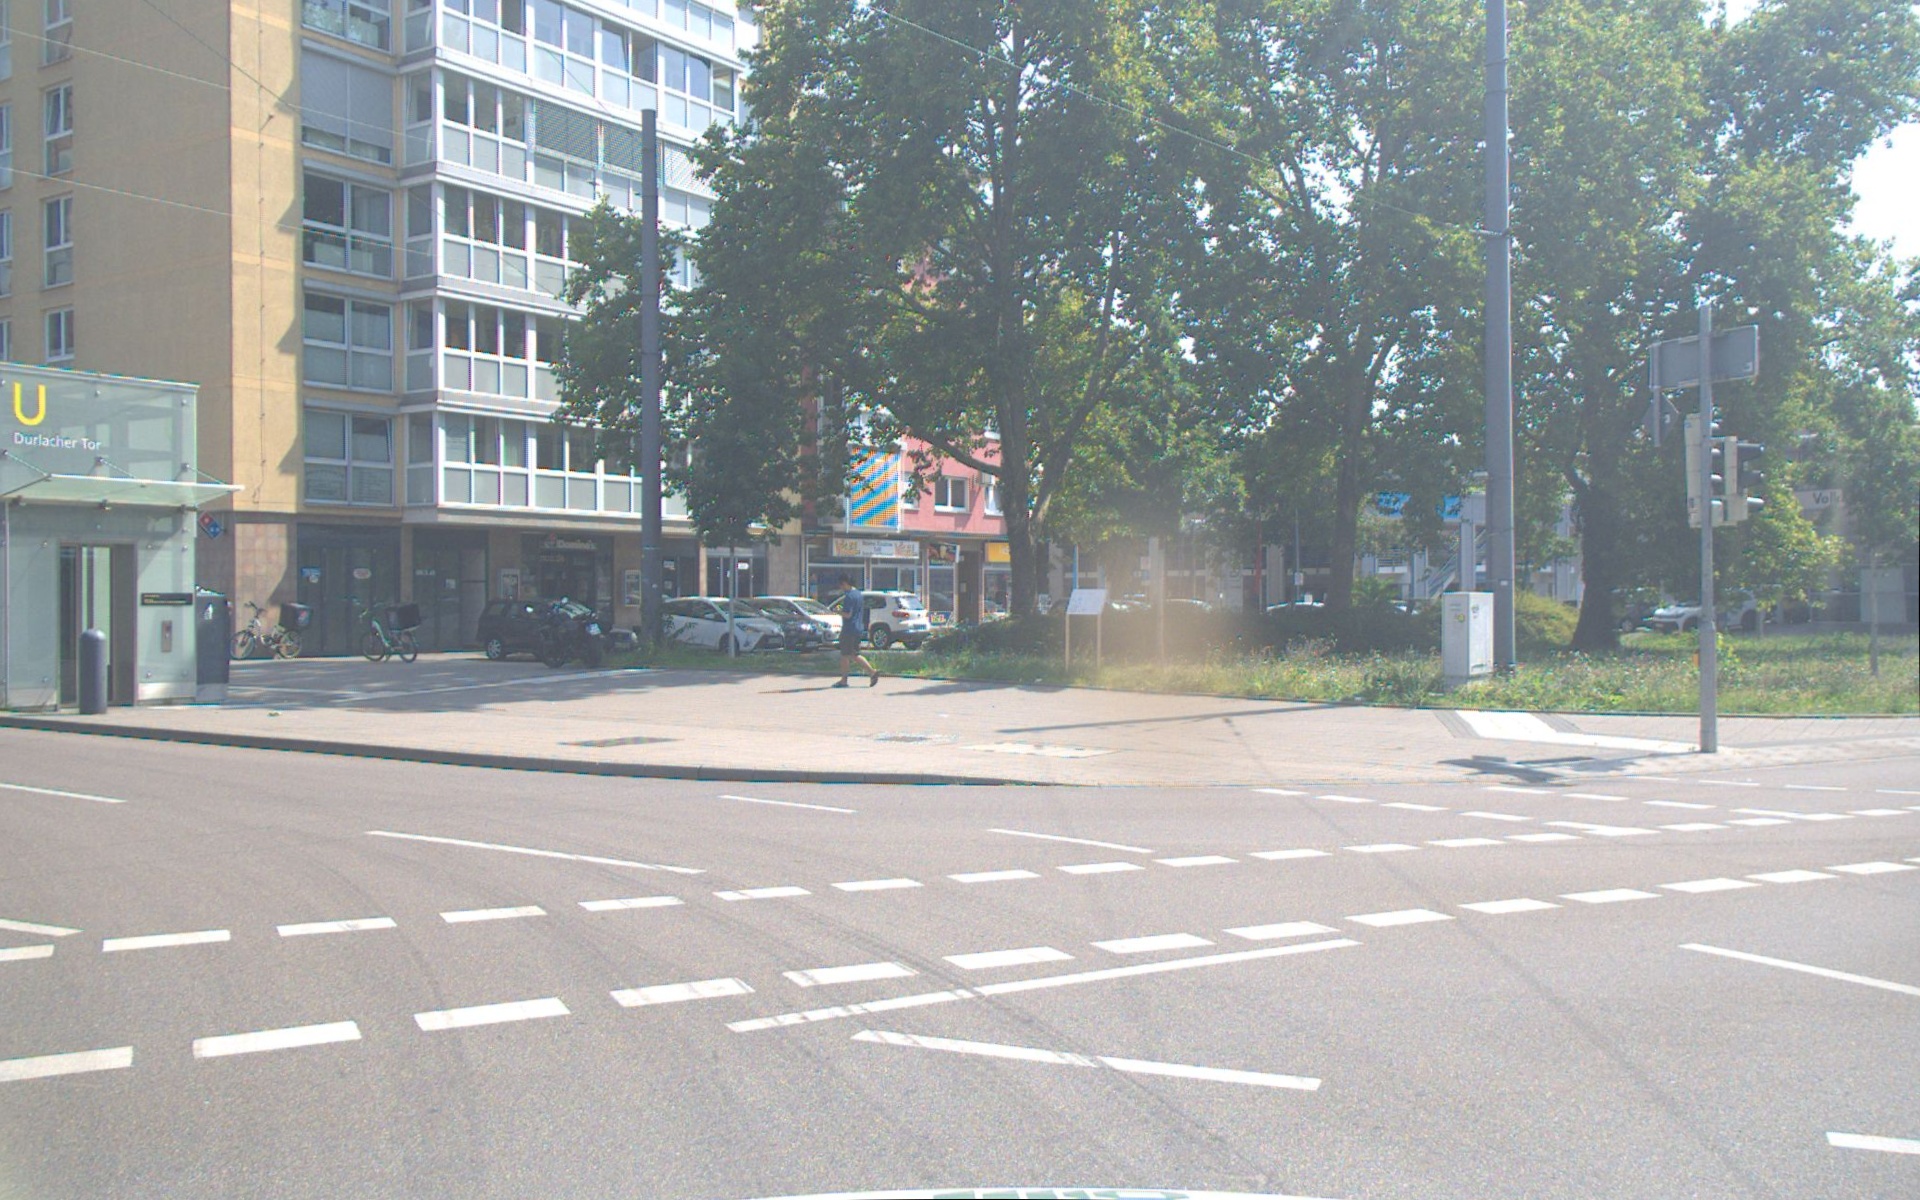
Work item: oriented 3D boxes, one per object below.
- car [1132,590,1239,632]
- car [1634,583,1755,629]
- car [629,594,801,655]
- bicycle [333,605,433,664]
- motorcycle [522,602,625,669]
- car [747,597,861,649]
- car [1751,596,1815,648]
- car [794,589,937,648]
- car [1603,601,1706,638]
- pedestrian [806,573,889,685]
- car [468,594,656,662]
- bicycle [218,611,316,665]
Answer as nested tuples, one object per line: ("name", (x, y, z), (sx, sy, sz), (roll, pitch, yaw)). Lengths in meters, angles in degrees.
("car", (9.282, 0.448, 68.160), (3.986, 1.695, 1.787), (-1, 0, 31))
("car", (29.483, 0.238, 66.418), (4.164, 1.784, 1.714), (0, 0, -7))
("car", (-6.362, 0.626, 42.832), (4.155, 1.496, 1.902), (-1, 0, 31))
("bicycle", (-12.535, 0.743, 35.885), (2.384, 1.260, 0.792), (-1, -1, 34))
("motorcycle", (-7.009, 0.630, 29.912), (0.905, 1.156, 2.078), (0, -1, -43))
("car", (-4.472, 0.647, 47.256), (3.032, 1.454, 1.400), (-1, 0, 31))
("car", (34.882, 0.884, 70.013), (2.281, 2.049, 6.800), (2, 1, 27))
("car", (-2.828, 0.535, 49.346), (3.986, 1.695, 1.787), (-1, 0, 31))
("car", (29.664, 0.825, 70.668), (3.939, 1.534, 1.983), (0, 0, -27))
("pedestrian", (-1.671, 0.431, 24.668), (0.929, 1.637, 0.792), (-1, -1, 31))
("car", (-9.280, 0.636, 38.516), (4.155, 1.496, 1.902), (-1, 0, 31))
("bicycle", (-15.590, 0.842, 37.232), (1.953, 1.163, 0.587), (0, -1, -42))
